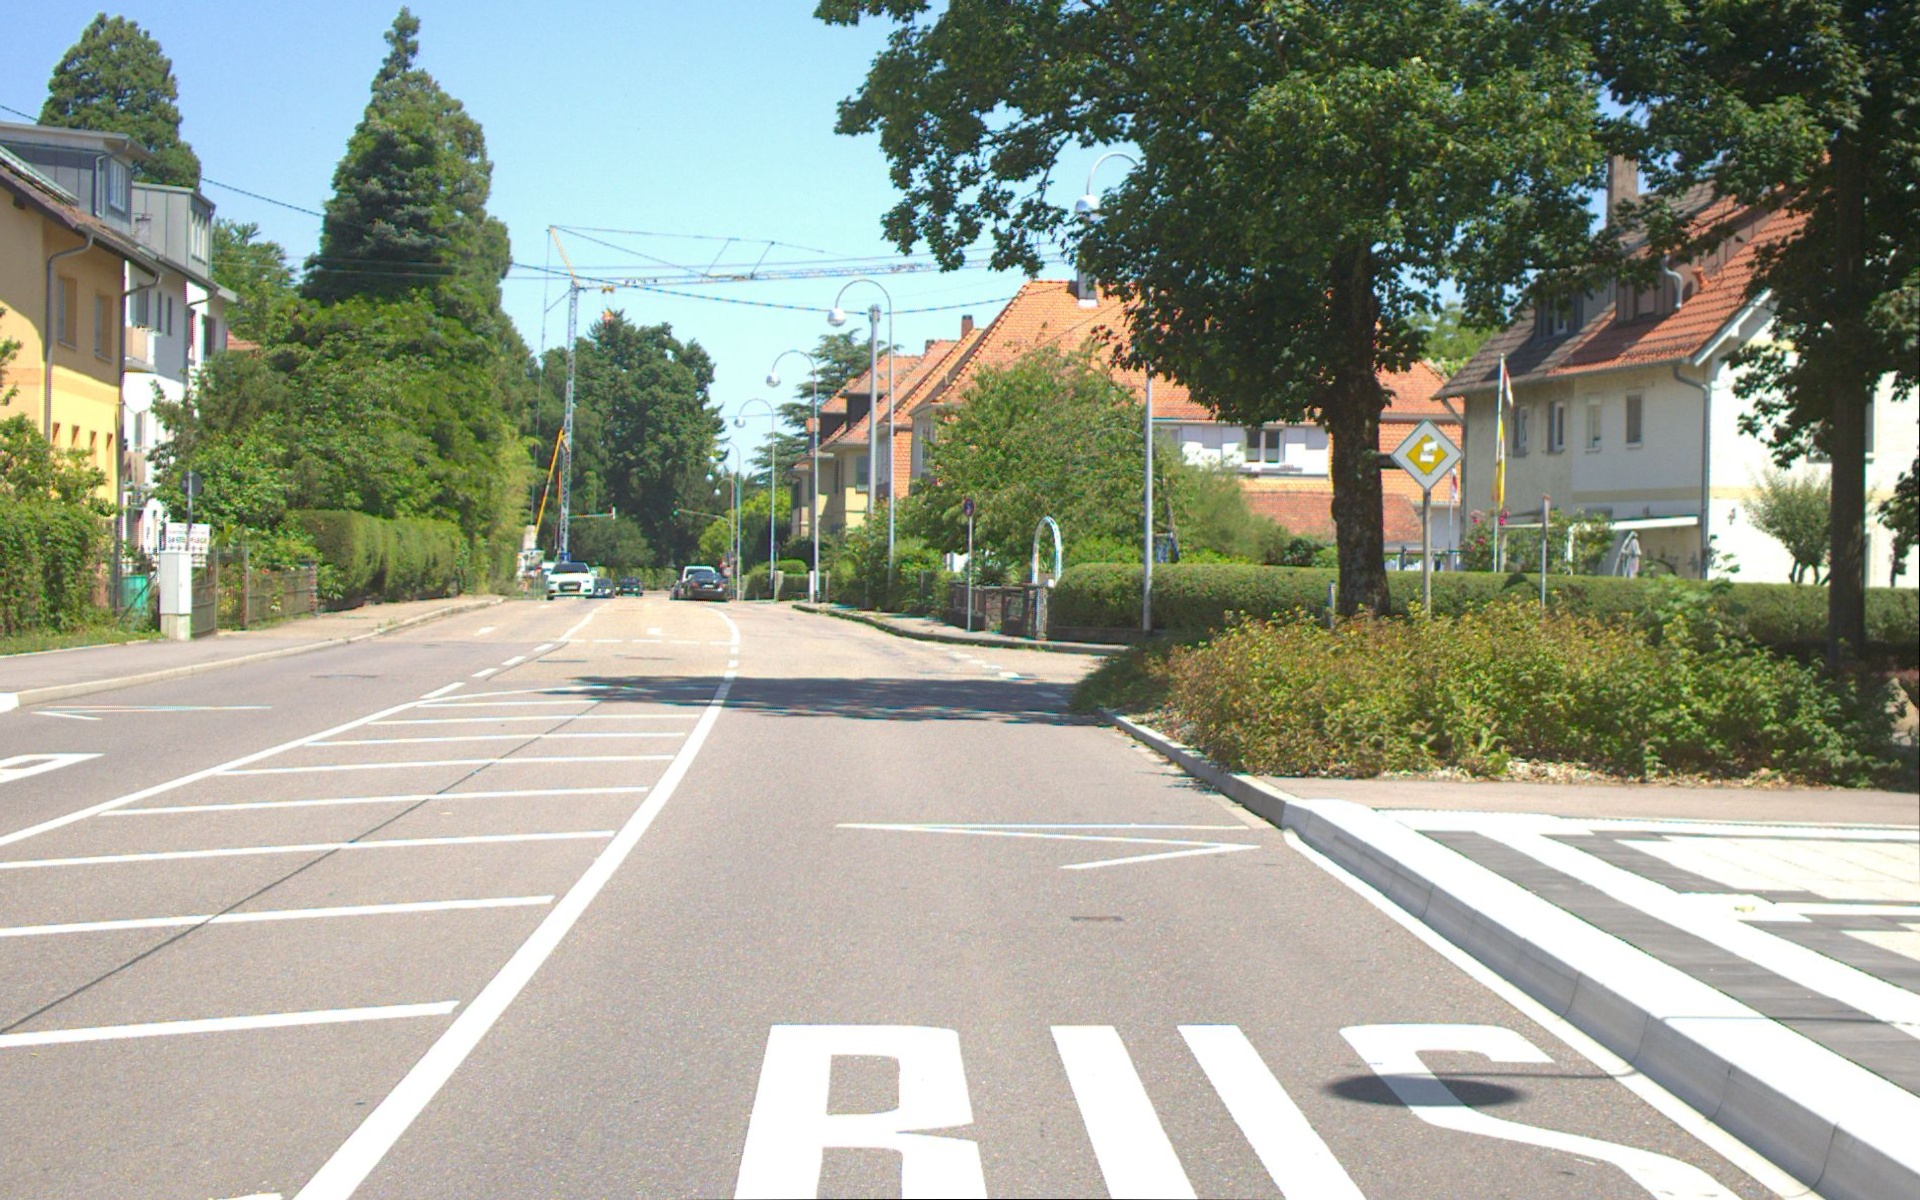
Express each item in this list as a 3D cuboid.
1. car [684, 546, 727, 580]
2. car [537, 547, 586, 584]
[{"bbox_3d":[-11.580,-1.681,156.311,1.692,1.414,4.552,2,-1,-7],"label":"car"},{"bbox_3d":[-15.060,-1.322,130.127,1.680,1.368,4.207,0,1,-4],"label":"car"}]
